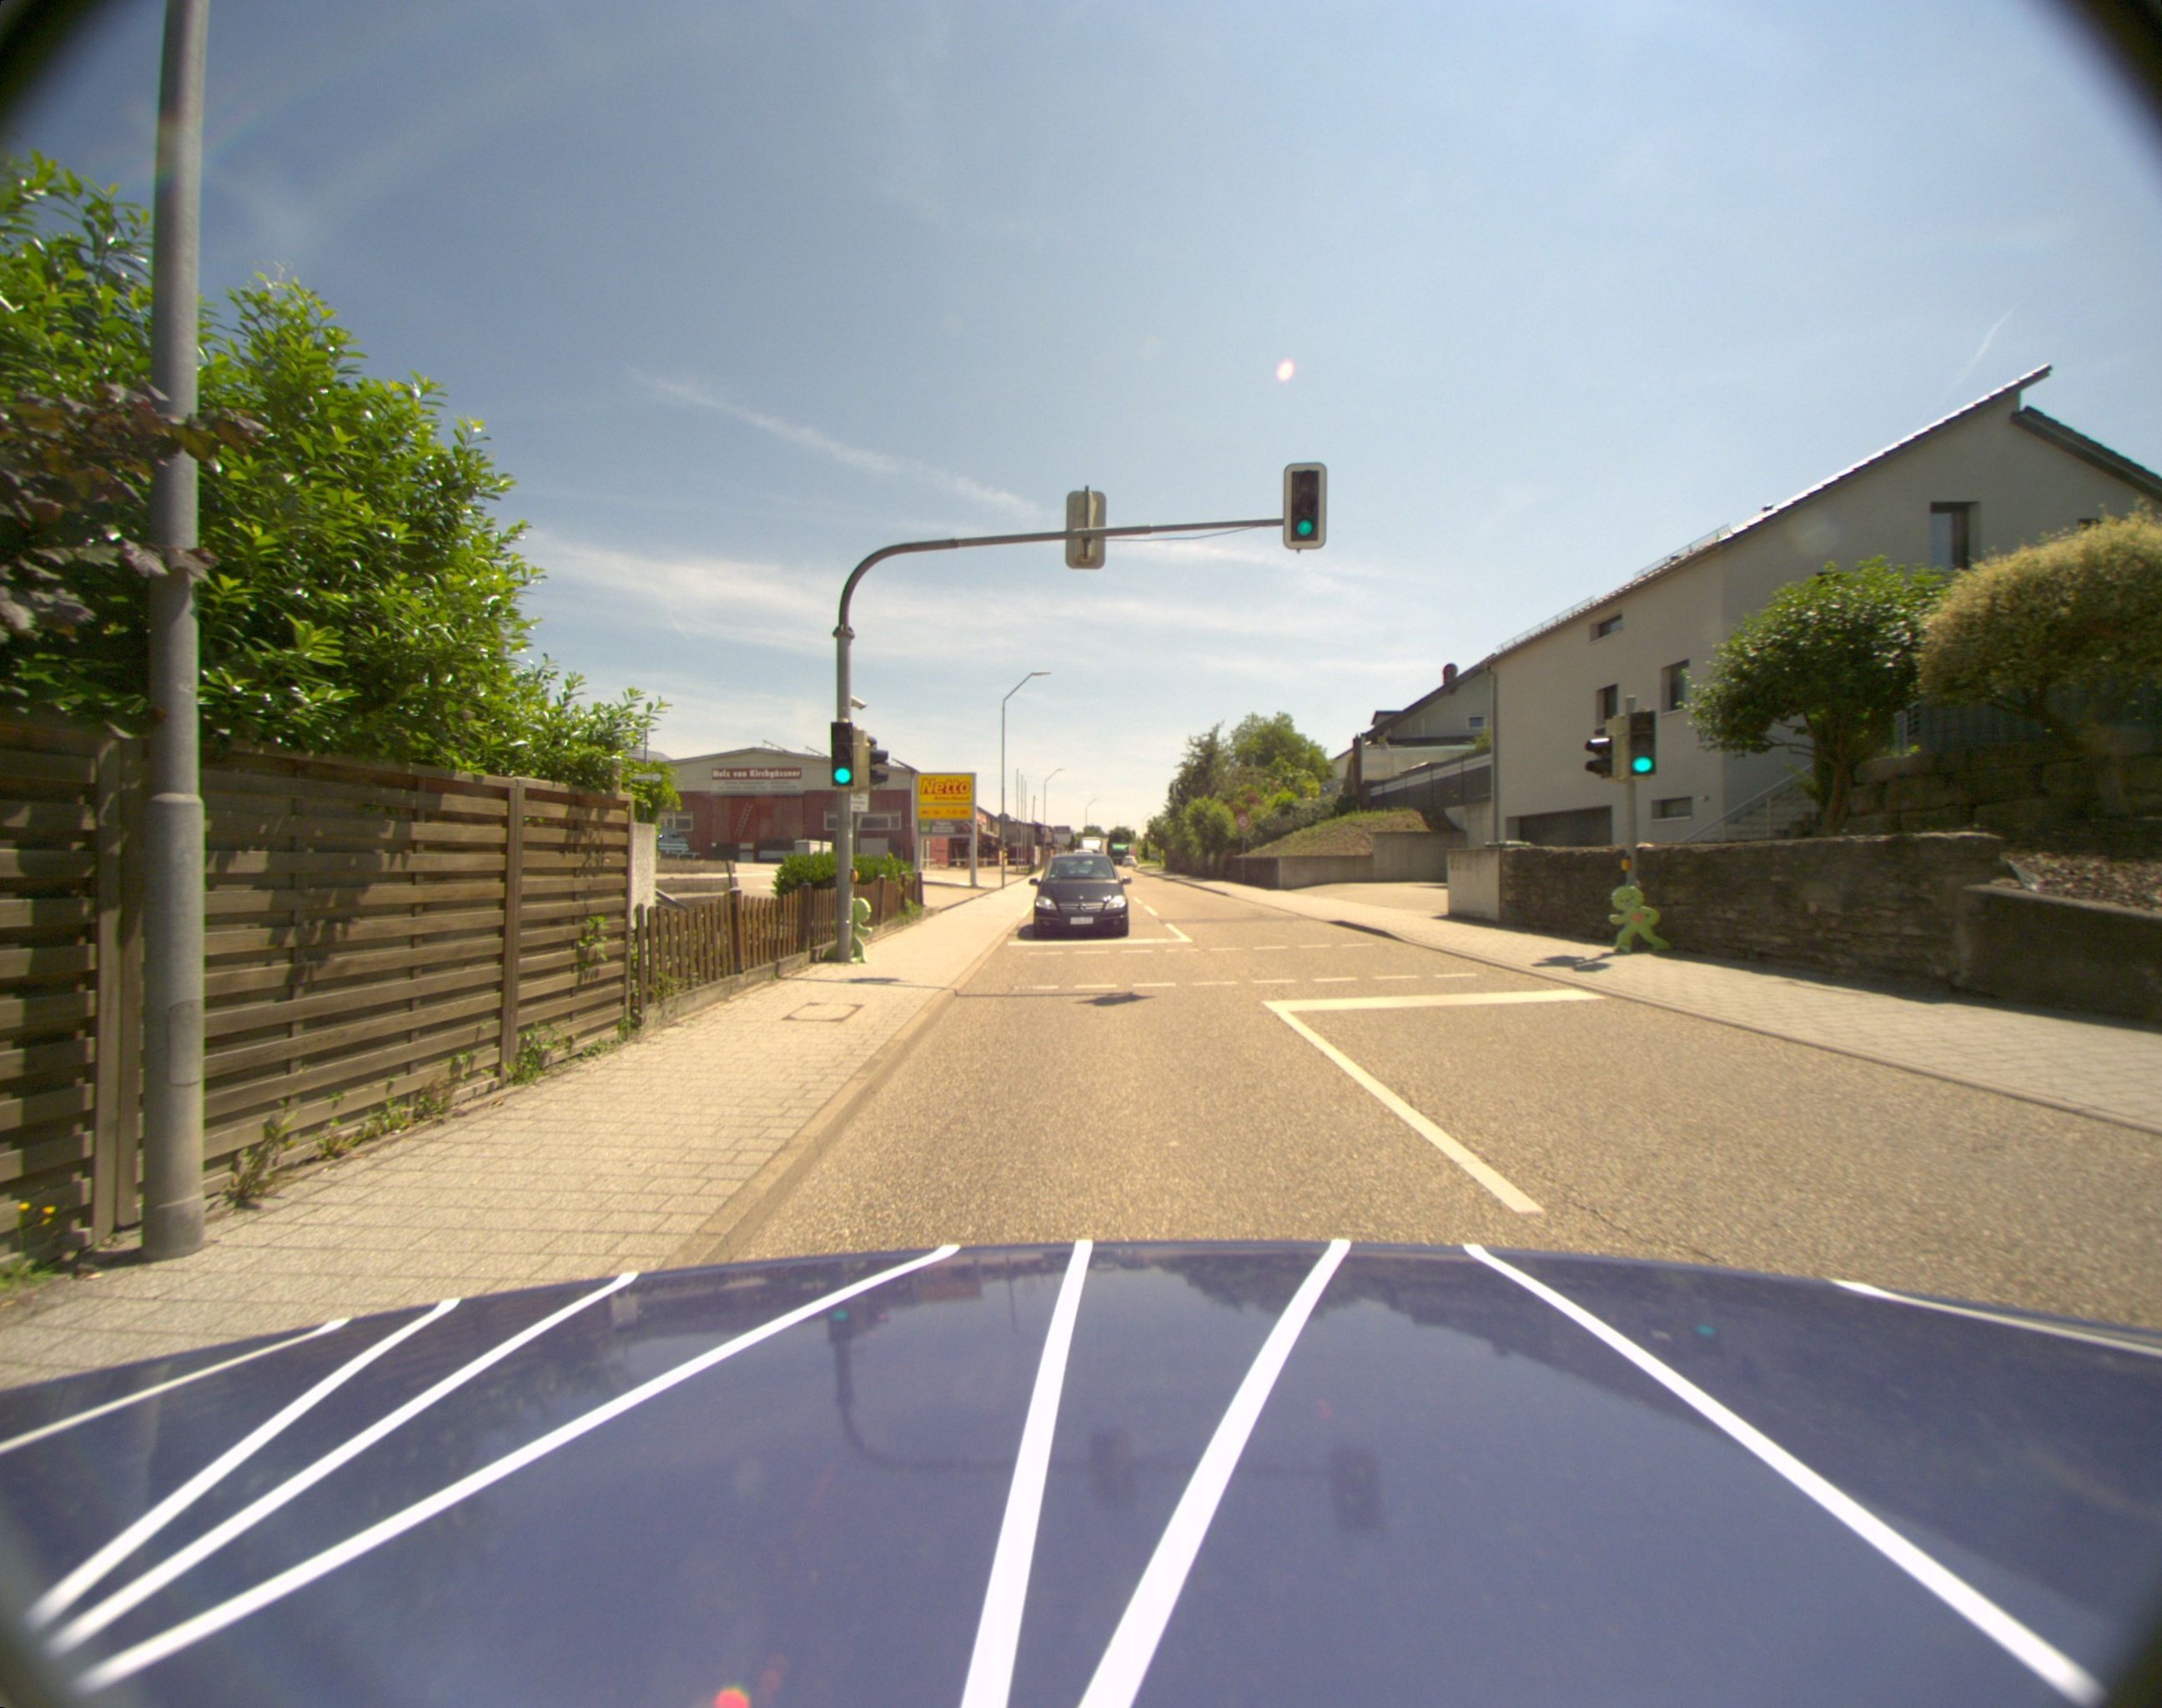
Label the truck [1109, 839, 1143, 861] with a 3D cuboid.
[{"bbox_3d":[7.013,-0.550,117.289,2.848,3.214,8.177,3,0,19],"label":"truck"}]

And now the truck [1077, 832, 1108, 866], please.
[{"bbox_3d":[1.398,-0.542,89.261,3.202,3.578,8.308,3,0,3],"label":"truck"}]

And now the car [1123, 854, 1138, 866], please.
[{"bbox_3d":[6.547,0.727,100.338,1.826,1.516,3.559,-1,0,6],"label":"car"}]

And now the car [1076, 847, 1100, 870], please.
[{"bbox_3d":[0.639,0.363,67.017,1.867,1.897,5.038,-2,0,3],"label":"car"}]

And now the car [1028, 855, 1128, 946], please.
[{"bbox_3d":[-0.028,0.838,15.719,1.764,1.583,4.198,-2,0,1],"label":"car"}]

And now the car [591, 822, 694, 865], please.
[{"bbox_3d":[-17.709,-0.381,30.931,1.913,1.586,4.208,1,-1,-3],"label":"car"}]
